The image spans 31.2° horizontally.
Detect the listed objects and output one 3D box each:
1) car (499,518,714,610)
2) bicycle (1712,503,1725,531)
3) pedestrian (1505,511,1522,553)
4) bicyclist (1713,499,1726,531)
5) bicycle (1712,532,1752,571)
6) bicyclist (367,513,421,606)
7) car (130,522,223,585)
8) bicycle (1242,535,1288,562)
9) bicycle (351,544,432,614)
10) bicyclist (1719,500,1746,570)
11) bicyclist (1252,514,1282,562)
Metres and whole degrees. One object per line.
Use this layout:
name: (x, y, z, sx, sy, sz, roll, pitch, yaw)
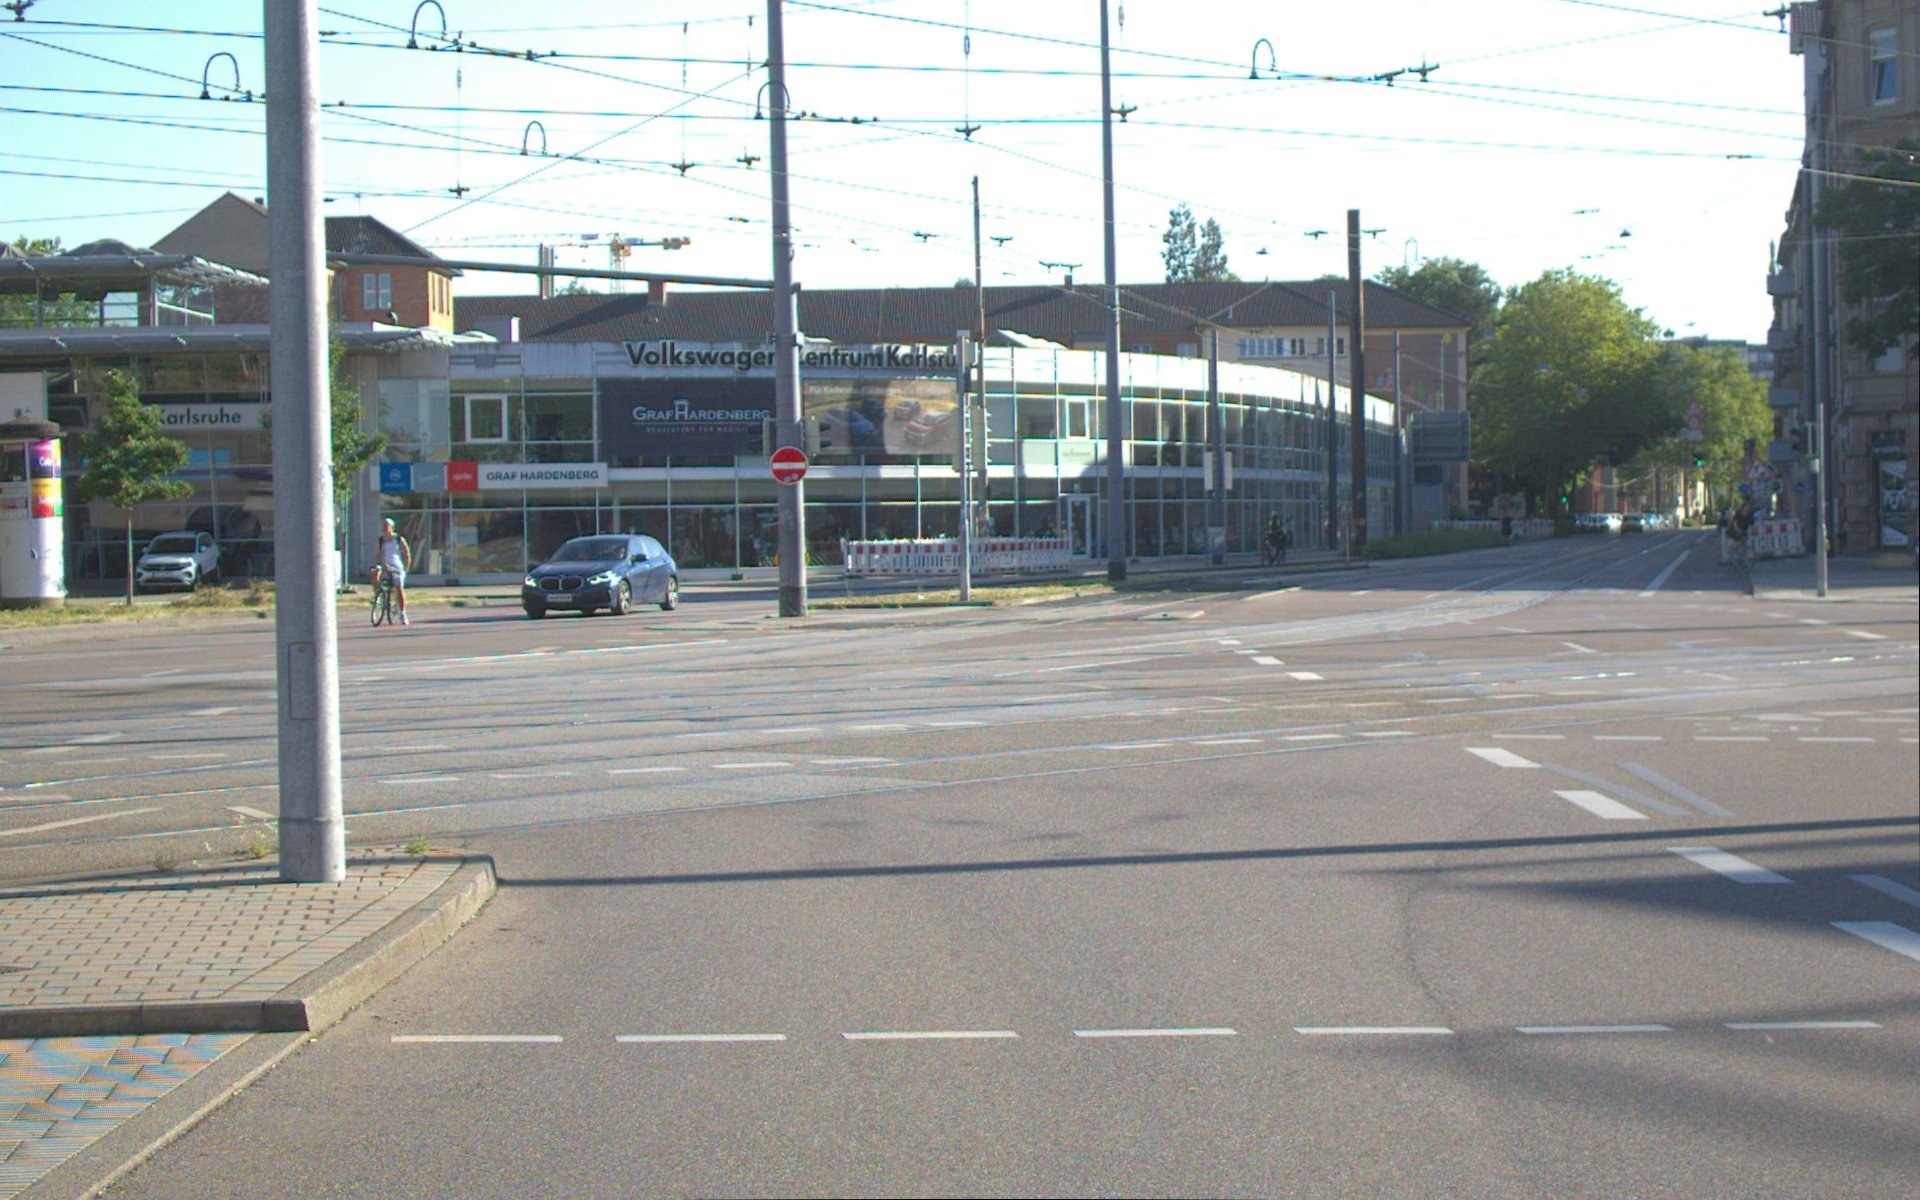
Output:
car: (-6.307, -0.635, 61.722, 1.996, 1.579, 3.994, 1, 1, 27)
bicycle: (26.416, -2.888, 119.684, 0.410, 0.938, 1.844, 1, 1, 12)
pedestrian: (27.036, -3.313, 167.996, 0.716, 2.007, 0.758, 1, 0, 1)
bicyclist: (26.453, -2.972, 119.790, 0.408, 1.112, 0.399, 1, 0, 11)
bicycle: (18.791, -1.178, 83.657, 0.657, 0.949, 1.600, 1, 1, 2)
bicyclist: (-9.831, -0.704, 59.739, 0.598, 1.610, 0.822, 1, 0, 17)
car: (-22.625, -1.333, 99.388, 1.993, 1.744, 4.001, 1, 1, -4)
bicycle: (10.168, -1.708, 114.462, 0.639, 0.867, 2.231, 1, 1, 29)
bicycle: (-9.856, -0.359, 59.676, 0.613, 1.185, 1.867, 1, 1, 17)
bicyclist: (18.796, -1.573, 83.662, 0.518, 1.695, 0.516, 1, 0, 3)
bicyclist: (10.230, -2.061, 114.572, 0.655, 1.567, 0.921, 1, 0, 29)
